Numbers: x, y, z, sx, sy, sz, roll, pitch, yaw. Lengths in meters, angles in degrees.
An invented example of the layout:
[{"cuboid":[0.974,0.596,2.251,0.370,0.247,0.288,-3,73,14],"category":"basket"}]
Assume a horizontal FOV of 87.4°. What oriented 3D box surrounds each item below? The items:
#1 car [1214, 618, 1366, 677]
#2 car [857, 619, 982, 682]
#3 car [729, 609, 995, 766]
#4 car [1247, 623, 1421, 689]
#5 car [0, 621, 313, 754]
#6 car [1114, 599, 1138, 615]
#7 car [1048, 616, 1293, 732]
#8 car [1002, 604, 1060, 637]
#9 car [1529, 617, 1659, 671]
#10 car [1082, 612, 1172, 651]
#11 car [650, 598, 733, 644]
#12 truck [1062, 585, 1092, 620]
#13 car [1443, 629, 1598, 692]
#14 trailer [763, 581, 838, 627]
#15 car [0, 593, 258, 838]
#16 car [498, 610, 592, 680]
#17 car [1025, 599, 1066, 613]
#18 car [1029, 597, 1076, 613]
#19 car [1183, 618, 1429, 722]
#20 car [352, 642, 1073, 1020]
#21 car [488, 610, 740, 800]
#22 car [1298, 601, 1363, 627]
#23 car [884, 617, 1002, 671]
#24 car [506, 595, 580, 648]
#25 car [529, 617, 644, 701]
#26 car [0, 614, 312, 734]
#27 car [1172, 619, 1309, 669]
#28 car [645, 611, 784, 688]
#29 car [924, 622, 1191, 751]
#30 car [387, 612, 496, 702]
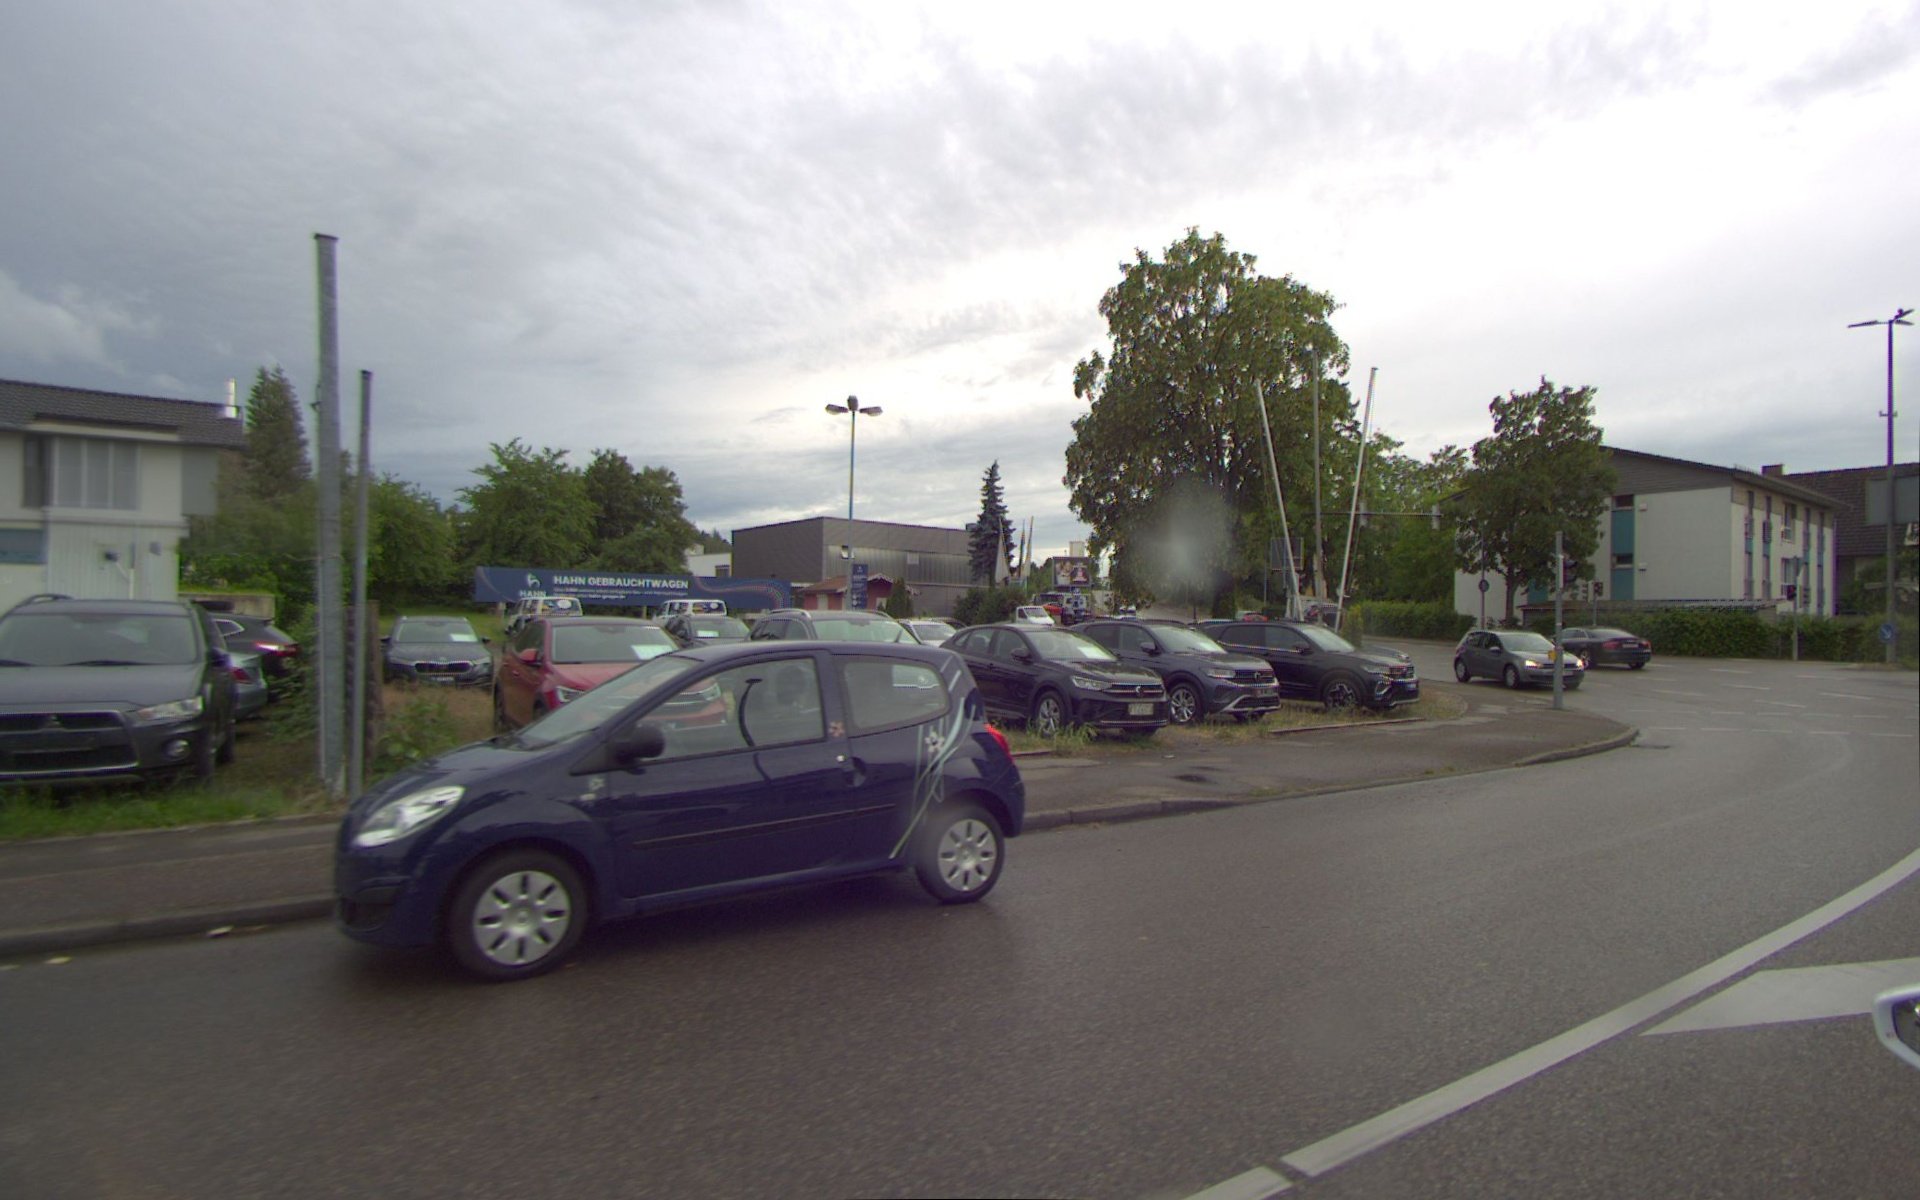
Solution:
[{"cuboid":[9.696,1.389,29.732,3.920,1.576,1.757,-1,1,3],"category":"car"},{"cuboid":[-1.115,1.284,25.759,1.573,1.483,3.741,0,-3,-32],"category":"car"},{"cuboid":[-1.390,0.927,12.540,1.783,1.564,3.966,1,0,-31],"category":"car"},{"cuboid":[9.247,1.391,25.168,3.902,1.511,1.758,-1,1,15],"category":"car"},{"cuboid":[-10.698,0.972,11.819,5.163,1.439,1.887,1,-2,-34],"category":"car"},{"cuboid":[15.651,0.632,94.745,1.561,1.423,3.706,0,0,-2],"category":"car"},{"cuboid":[3.306,1.098,16.468,1.673,1.551,3.923,0,1,-33],"category":"car"},{"cuboid":[4.605,1.311,65.817,1.976,2.021,3.969,0,1,-29],"category":"car"},{"cuboid":[21.199,1.439,33.804,1.960,1.595,4.001,0,0,3],"category":"car"},{"cuboid":[7.672,1.446,46.035,3.960,1.541,1.743,4,-2,-34],"category":"car"},{"cuboid":[-12.070,0.877,44.944,1.983,1.895,4.401,0,1,-39],"category":"car"},{"cuboid":[8.972,0.176,77.319,1.960,2.573,5.560,1,1,4],"category":"truck"},{"cuboid":[15.104,1.579,27.327,1.696,1.475,3.997,-2,-1,-5],"category":"car"},{"cuboid":[-10.308,0.276,64.749,2.598,2.800,4.968,1,-1,-40],"category":"trailer"},{"cuboid":[-7.617,0.832,9.029,1.938,1.713,4.323,1,-1,-33],"category":"car"},{"cuboid":[-10.600,1.066,25.494,1.732,1.573,3.968,0,1,-30],"category":"car"},{"cuboid":[8.589,0.599,101.070,3.923,1.394,1.814,1,-1,-3],"category":"car"},{"cuboid":[9.597,0.518,104.319,4.679,1.645,1.814,1,-1,-2],"category":"car"},{"cuboid":[6.138,1.163,18.125,1.611,1.551,3.908,0,1,-43],"category":"car"},{"cuboid":[-1.286,0.987,5.671,3.643,1.452,1.617,1,-1,-33],"category":"car"},{"cuboid":[-3.864,0.928,10.763,1.783,1.564,3.966,1,0,-31],"category":"car"},{"cuboid":[26.282,0.990,71.326,3.920,1.747,2.001,0,1,3],"category":"car"},{"cuboid":[-0.497,1.391,32.990,1.687,1.576,3.981,1,1,40],"category":"car"},{"cuboid":[-16.912,0.827,40.678,1.708,2.000,4.147,0,1,-39],"category":"car"},{"cuboid":[-7.666,1.129,20.459,1.574,1.447,3.614,0,1,-31],"category":"car"},{"cuboid":[-12.055,0.975,13.901,5.163,1.521,1.887,1,-2,-34],"category":"car"},{"cuboid":[8.998,1.400,32.446,3.922,1.530,1.756,0,1,-2],"category":"car"},{"cuboid":[-5.393,0.999,21.813,1.578,1.447,3.603,0,1,-39],"category":"car"},{"cuboid":[1.222,1.093,14.267,1.783,1.460,3.966,1,0,-31],"category":"car"},{"cuboid":[-9.837,0.987,18.928,1.574,1.447,3.613,0,1,-32],"category":"car"}]
